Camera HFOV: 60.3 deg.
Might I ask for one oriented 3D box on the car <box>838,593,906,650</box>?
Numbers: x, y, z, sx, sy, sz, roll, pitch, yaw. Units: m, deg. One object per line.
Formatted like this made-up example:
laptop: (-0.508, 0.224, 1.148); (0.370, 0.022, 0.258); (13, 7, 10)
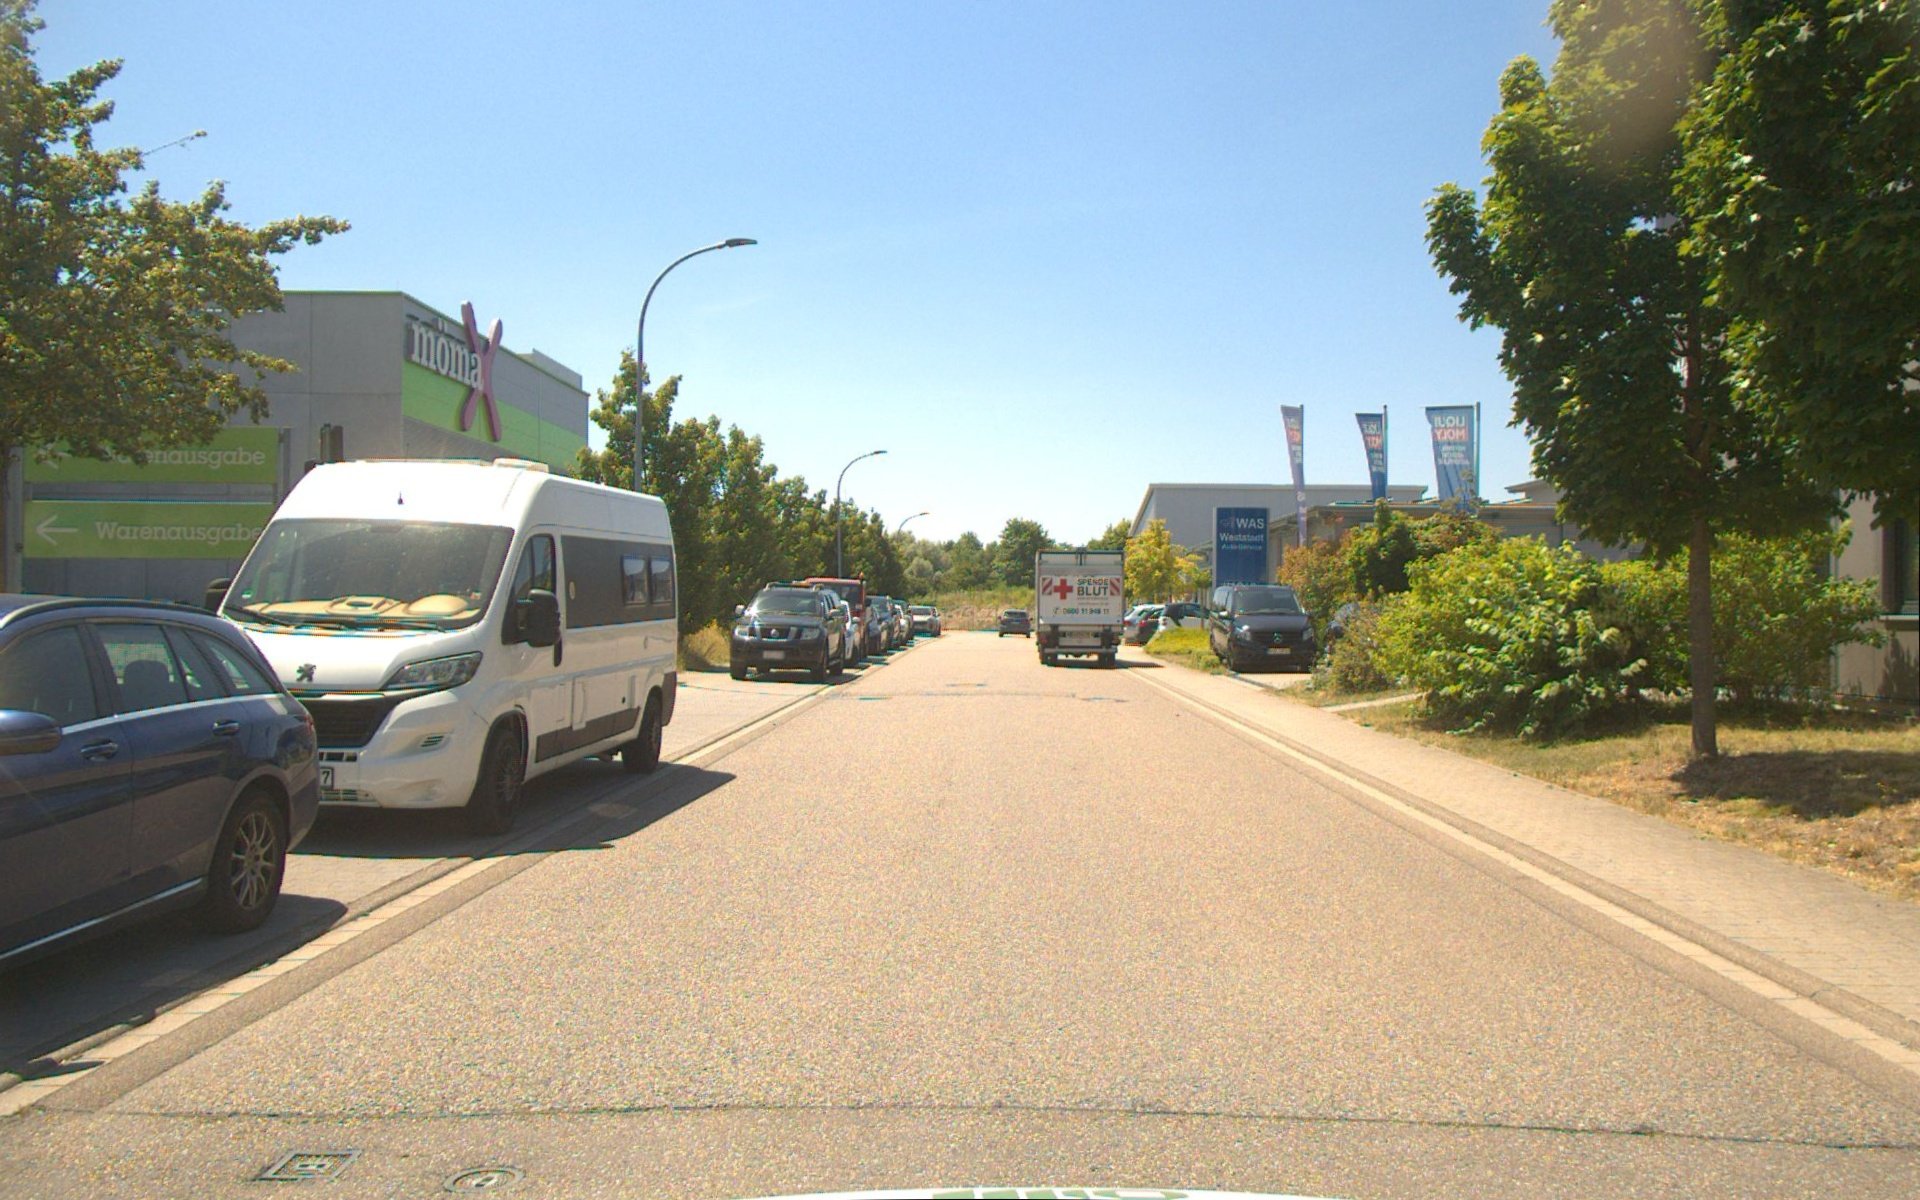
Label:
car: (-2.933, 0.694, 55.952); (1.813, 1.789, 4.988); (2, 0, 2)

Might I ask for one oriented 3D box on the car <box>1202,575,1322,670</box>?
car: (6.895, 0.493, 38.313); (1.952, 2.049, 5.337); (0, 0, 2)

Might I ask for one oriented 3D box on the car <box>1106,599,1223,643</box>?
car: (7.634, 0.786, 62.057); (4.190, 1.568, 1.913); (-1, 0, 2)

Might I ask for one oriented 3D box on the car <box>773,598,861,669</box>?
car: (-3.410, 0.778, 40.106); (1.814, 1.578, 3.766); (2, 0, -1)

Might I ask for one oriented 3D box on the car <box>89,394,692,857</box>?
car: (-3.840, 0.157, 12.748); (2.274, 2.644, 6.086); (2, 0, 2)

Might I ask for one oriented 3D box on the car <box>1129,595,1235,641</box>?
car: (7.941, 0.651, 59.486); (3.615, 1.568, 1.913); (-1, 0, 2)

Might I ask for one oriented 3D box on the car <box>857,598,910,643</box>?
car: (-2.809, 0.752, 61.726); (1.814, 1.545, 4.903); (2, 0, -2)

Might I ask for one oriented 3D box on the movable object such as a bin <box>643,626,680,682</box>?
movable object such as a bin: (-5.346, 0.959, 29.647); (0.536, 0.967, 0.682); (1, 0, -1)

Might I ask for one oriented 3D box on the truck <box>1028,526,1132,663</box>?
truck: (3.106, -0.130, 44.209); (2.406, 3.261, 6.884); (3, 0, 3)

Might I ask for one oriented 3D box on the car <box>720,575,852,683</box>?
car: (-3.389, 0.551, 33.247); (1.933, 1.934, 5.402); (2, 0, 1)

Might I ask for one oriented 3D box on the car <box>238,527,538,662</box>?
car: (-12.887, -0.122, 37.590); (5.851, 2.874, 2.521); (1, 0, 0)

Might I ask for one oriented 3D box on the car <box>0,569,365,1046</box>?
car: (-4.013, 0.659, 6.085); (1.793, 1.568, 4.626); (2, 0, 2)

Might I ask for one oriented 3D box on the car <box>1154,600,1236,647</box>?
car: (8.067, 0.809, 56.886); (2.650, 1.568, 1.413); (-1, -1, 2)

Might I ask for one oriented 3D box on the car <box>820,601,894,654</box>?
car: (-3.055, 0.804, 49.898); (1.813, 1.468, 4.754); (2, 0, 1)

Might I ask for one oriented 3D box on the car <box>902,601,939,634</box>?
car: (-2.123, 0.944, 90.214); (1.873, 1.743, 4.413); (0, 0, 1)

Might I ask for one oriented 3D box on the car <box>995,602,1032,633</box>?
car: (3.016, 1.010, 94.646); (1.874, 1.743, 4.030); (0, 0, -2)

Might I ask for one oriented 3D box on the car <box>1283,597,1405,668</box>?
car: (9.009, 0.744, 39.163); (1.952, 1.563, 4.591); (0, 0, 2)

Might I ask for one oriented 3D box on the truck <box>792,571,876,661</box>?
truck: (-3.361, 0.427, 44.803); (1.813, 2.261, 4.646); (2, 0, 0)
